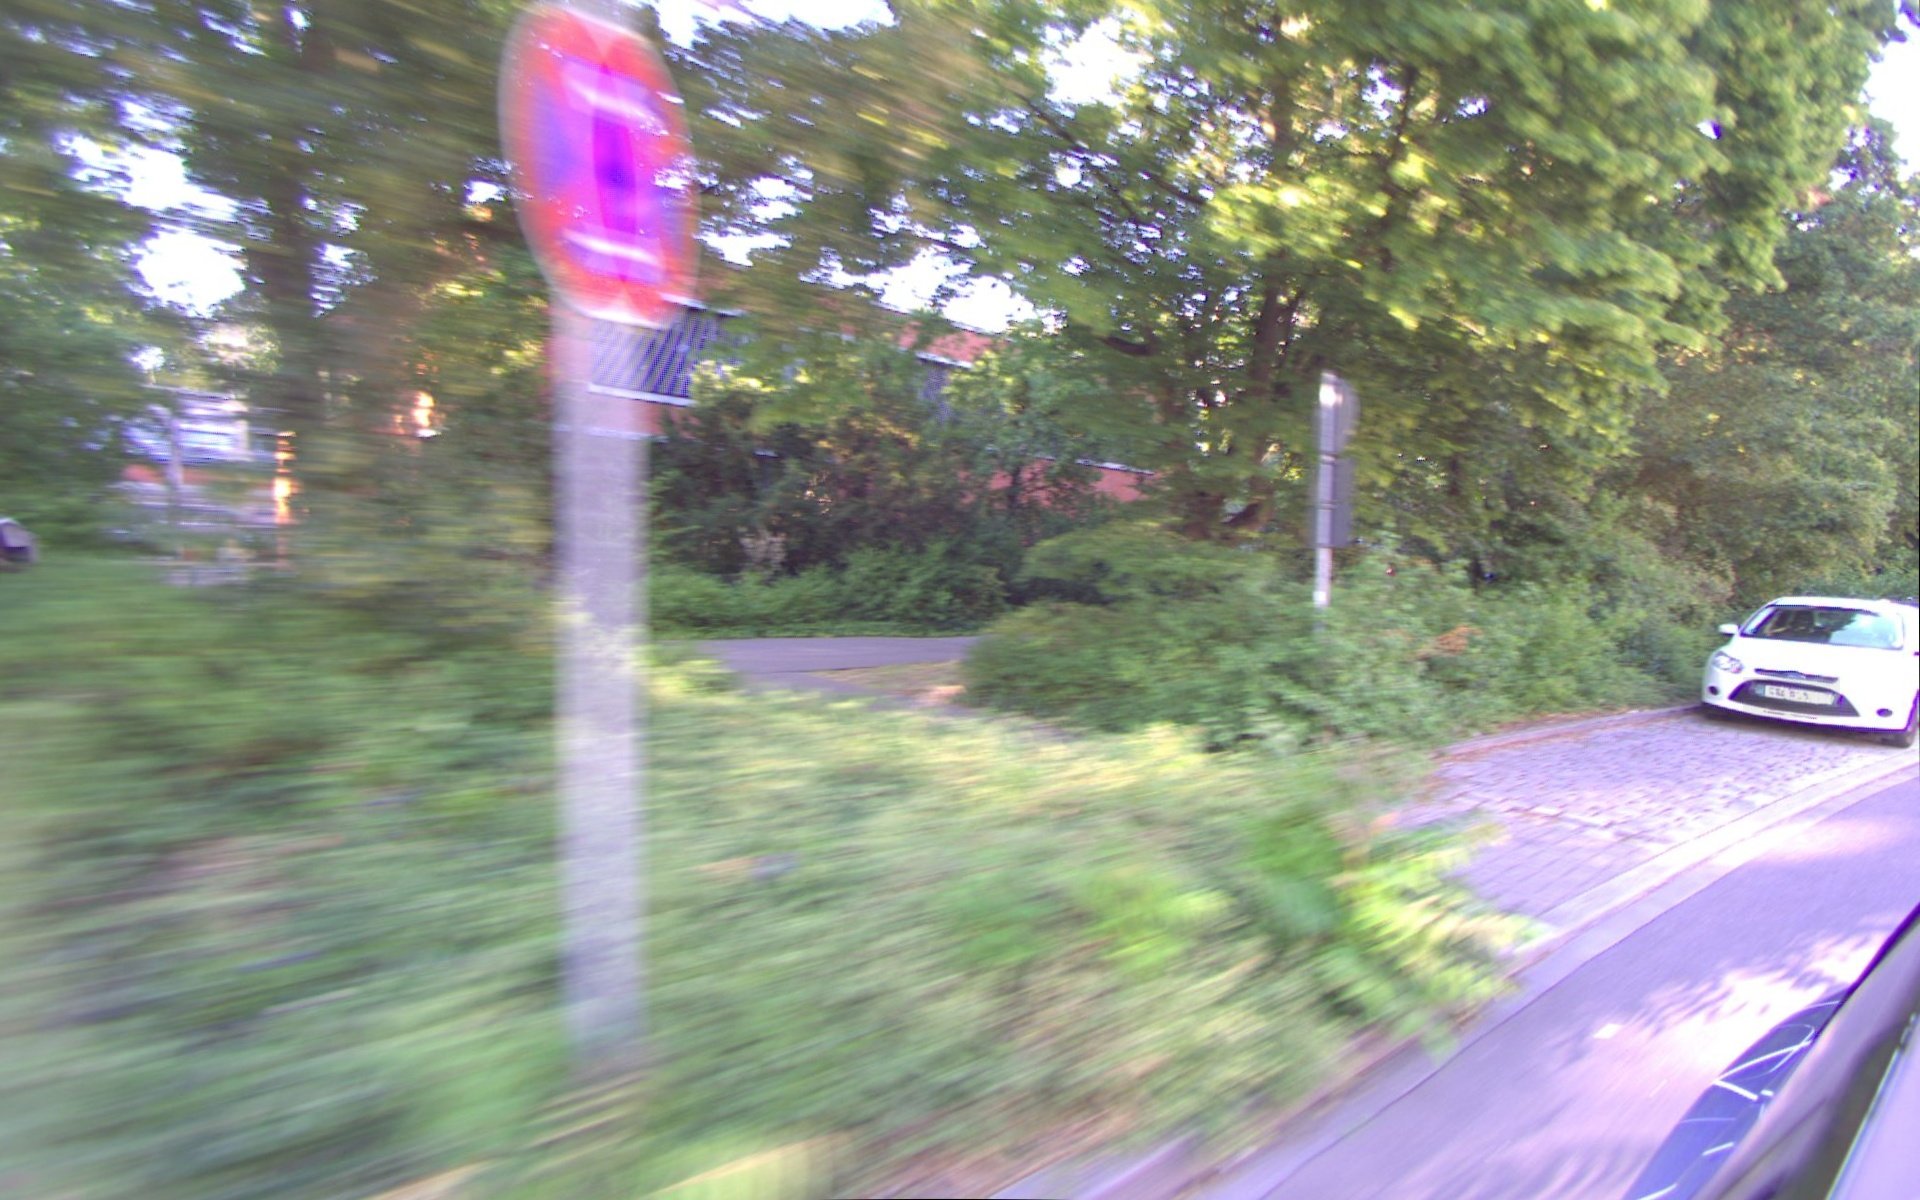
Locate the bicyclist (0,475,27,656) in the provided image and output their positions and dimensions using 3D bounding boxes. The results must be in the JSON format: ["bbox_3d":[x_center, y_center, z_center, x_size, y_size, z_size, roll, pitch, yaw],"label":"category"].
[{"bbox_3d":[-9.105,-0.324,9.341,0.713,1.665,0.532,0,3,-45],"label":"bicyclist"}]

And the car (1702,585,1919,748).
[{"bbox_3d":[10.224,0.617,11.681,4.103,1.505,1.752,0,3,-41],"label":"car"}]

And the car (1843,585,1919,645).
[{"bbox_3d":[26.258,0.417,27.578,1.503,1.547,3.115,0,3,-42],"label":"car"}]

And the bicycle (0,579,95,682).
[{"bbox_3d":[-9.127,0.278,9.356,0.532,0.929,1.694,3,3,45],"label":"bicycle"}]

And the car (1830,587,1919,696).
[{"bbox_3d":[15.101,0.582,15.765,4.431,1.505,1.751,0,3,-42],"label":"car"}]
